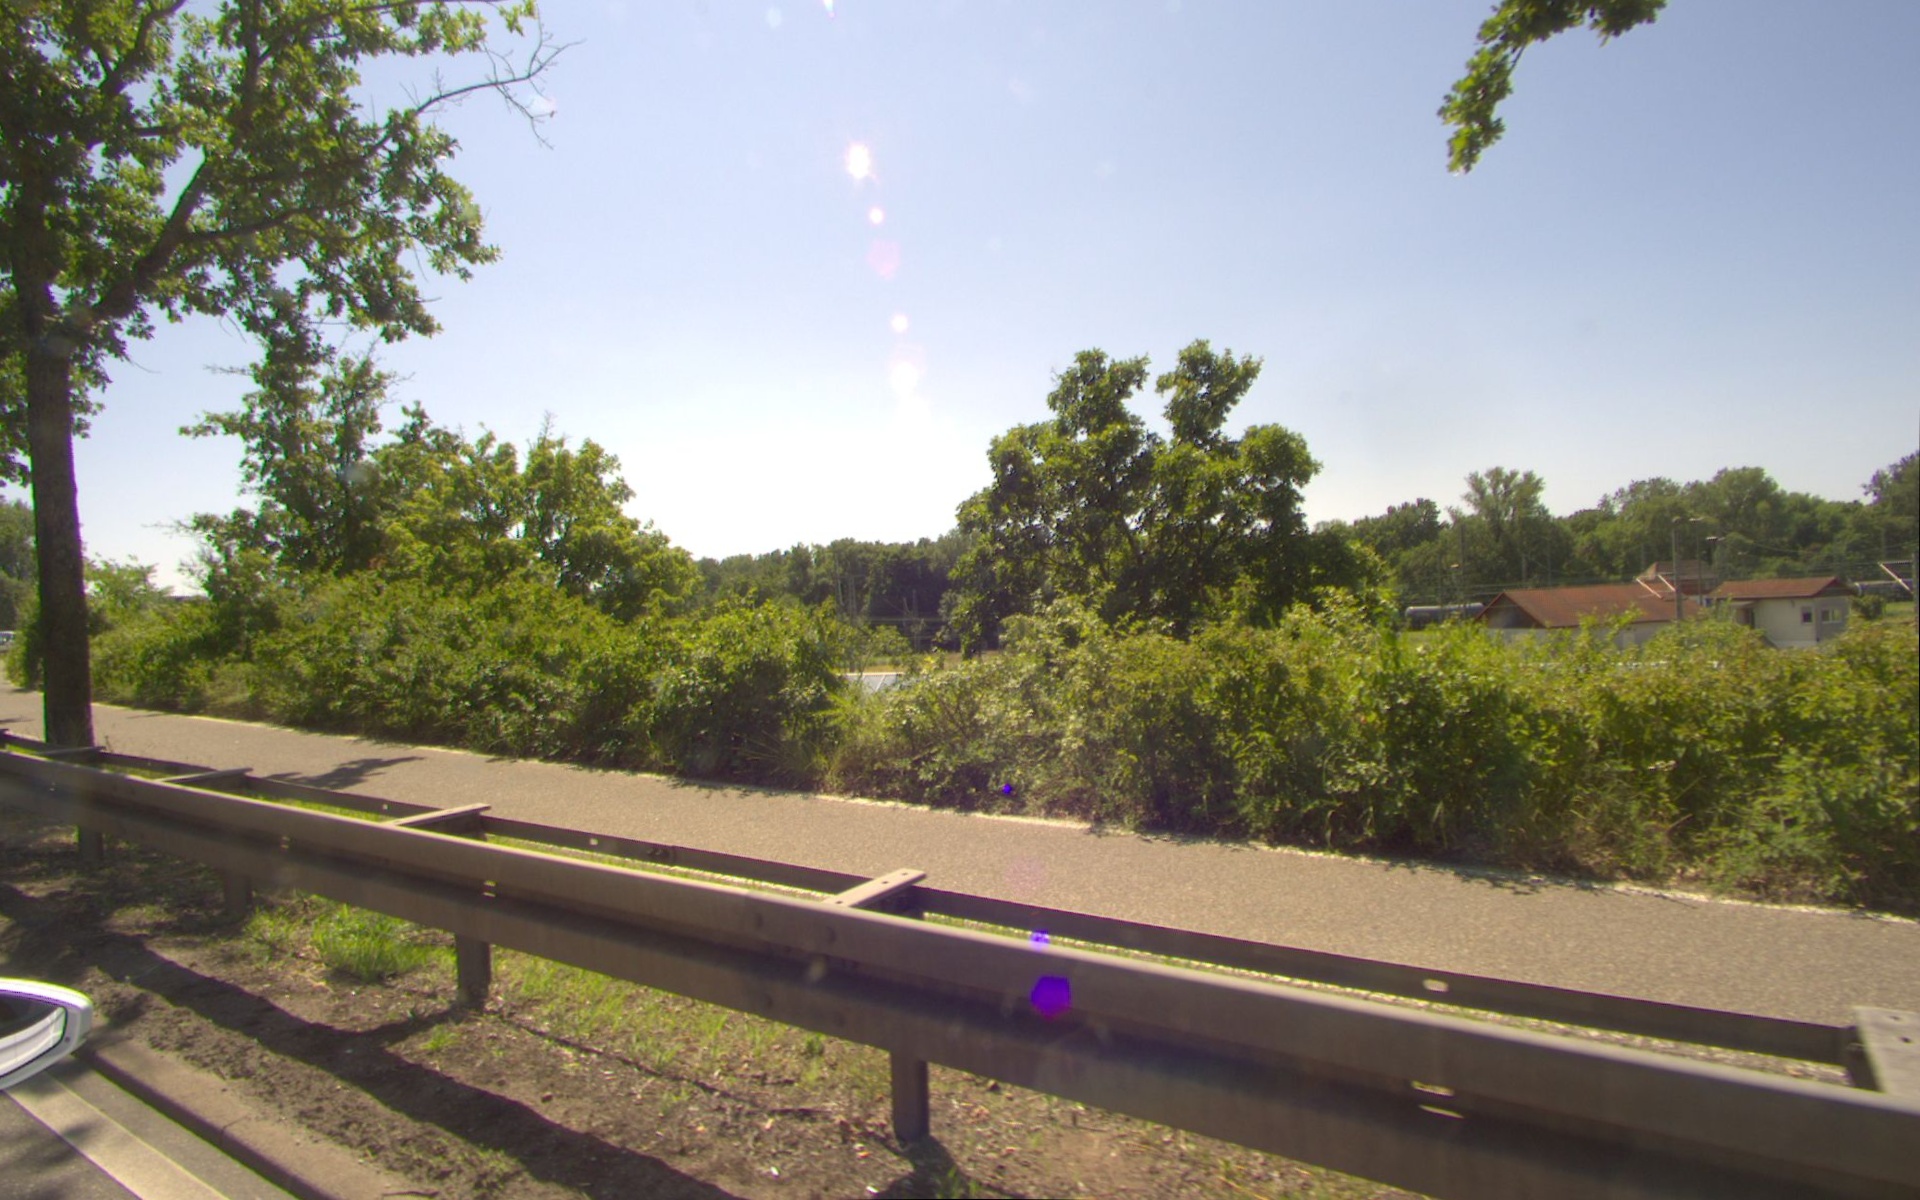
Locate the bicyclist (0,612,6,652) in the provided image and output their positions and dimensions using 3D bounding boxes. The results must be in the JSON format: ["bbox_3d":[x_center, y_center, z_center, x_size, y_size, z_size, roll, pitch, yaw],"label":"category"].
[{"bbox_3d":[-37.512,1.246,38.728,0.970,1.543,0.855,-1,-1,45],"label":"bicyclist"}]

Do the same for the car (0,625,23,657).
[{"bbox_3d":[-55.177,2.321,56.898,1.973,1.739,4.840,1,-2,-33],"label":"car"}]

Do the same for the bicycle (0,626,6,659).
[{"bbox_3d":[-37.592,1.650,38.786,2.286,1.252,0.855,-2,-2,45],"label":"bicycle"}]

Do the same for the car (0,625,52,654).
[{"bbox_3d":[-58.914,2.472,62.819,1.972,1.790,4.729,1,-2,-31],"label":"car"}]
